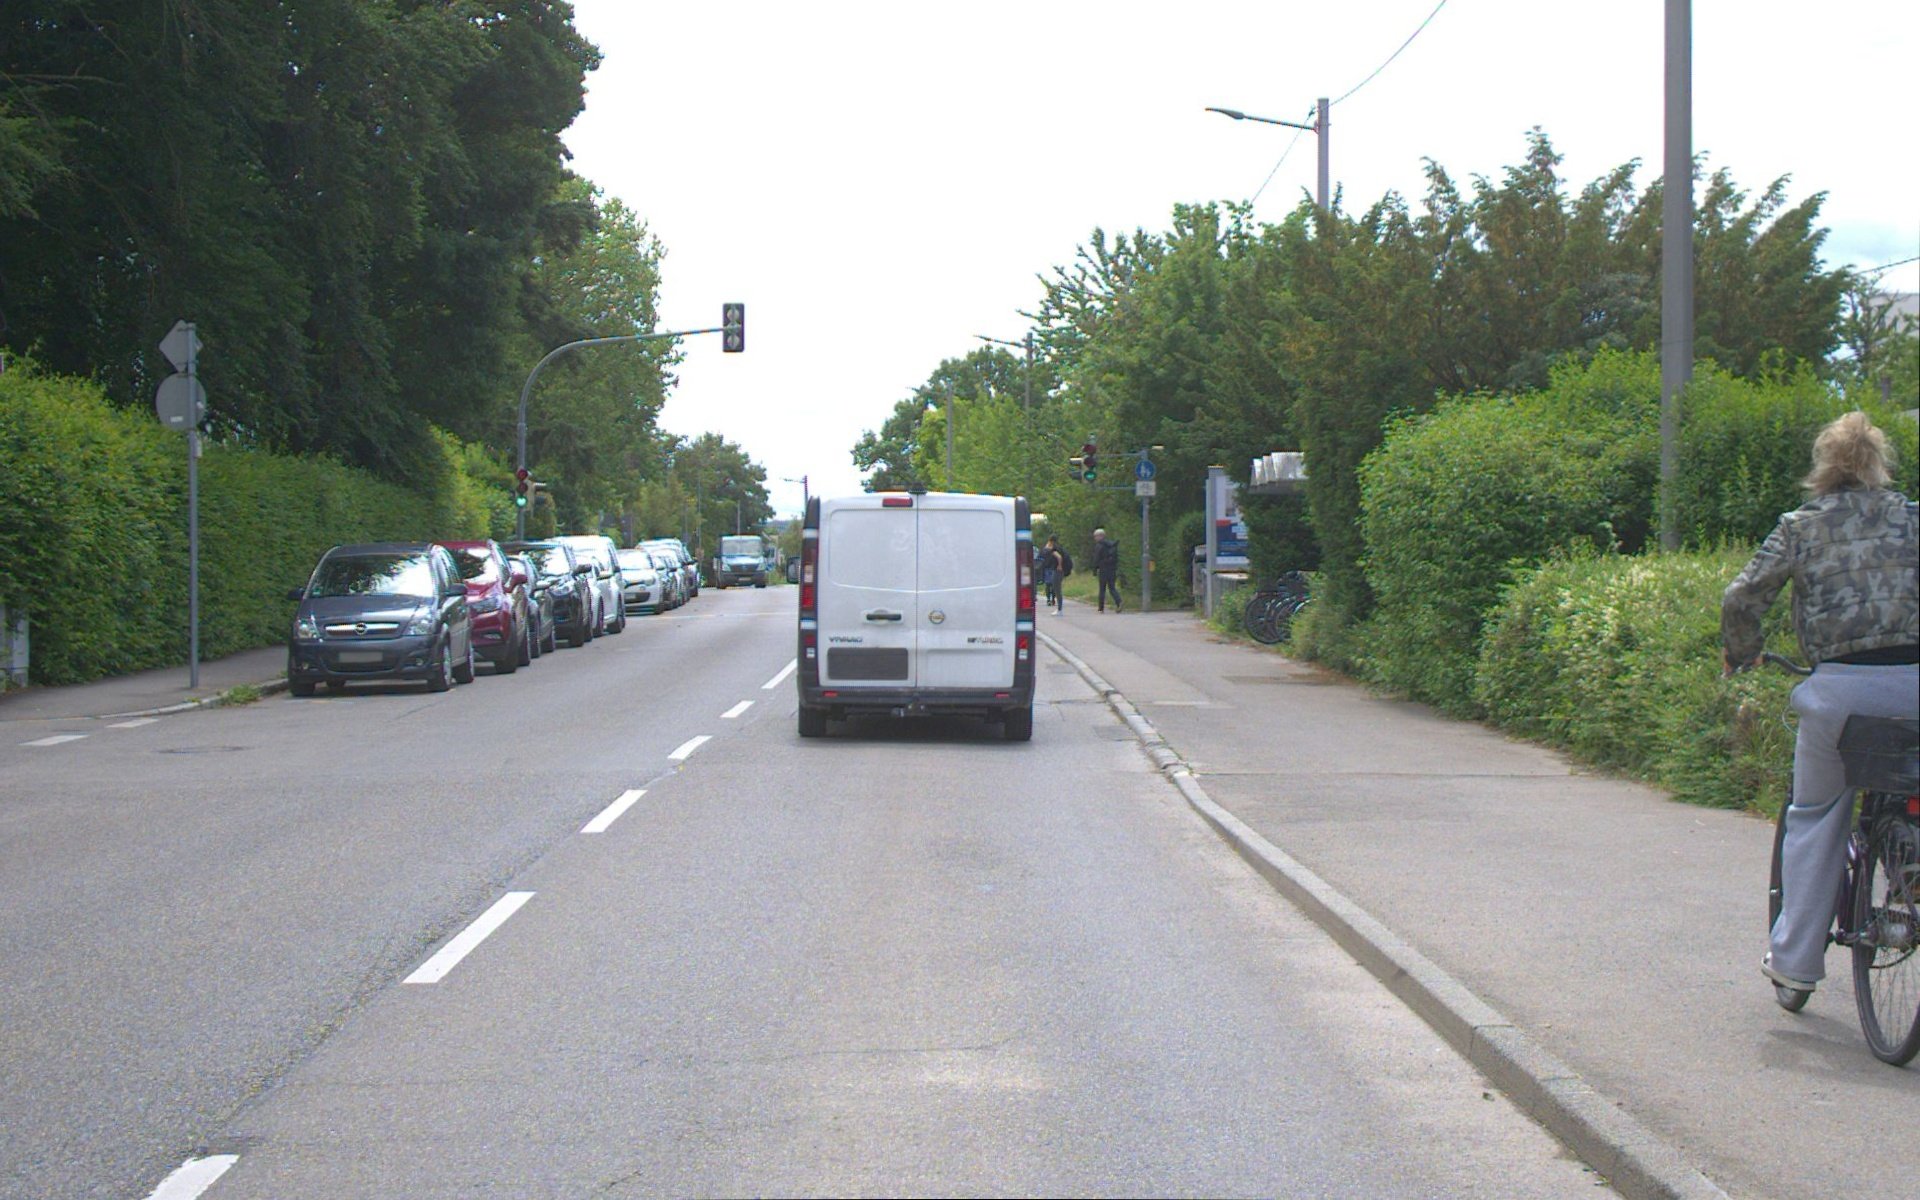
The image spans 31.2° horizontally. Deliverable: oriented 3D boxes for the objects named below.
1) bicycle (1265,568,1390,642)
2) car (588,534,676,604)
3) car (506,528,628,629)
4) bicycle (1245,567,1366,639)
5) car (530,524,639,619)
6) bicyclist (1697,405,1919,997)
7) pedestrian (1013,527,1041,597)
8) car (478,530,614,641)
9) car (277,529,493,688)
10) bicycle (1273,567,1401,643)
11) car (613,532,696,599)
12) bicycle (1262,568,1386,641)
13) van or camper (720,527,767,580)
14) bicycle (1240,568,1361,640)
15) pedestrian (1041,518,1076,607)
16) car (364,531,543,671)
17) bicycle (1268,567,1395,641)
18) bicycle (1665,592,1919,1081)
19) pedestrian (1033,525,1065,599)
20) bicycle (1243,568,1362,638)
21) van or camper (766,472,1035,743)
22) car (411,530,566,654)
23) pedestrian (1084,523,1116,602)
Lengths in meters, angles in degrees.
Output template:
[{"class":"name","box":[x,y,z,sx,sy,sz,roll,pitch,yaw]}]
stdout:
[{"class":"bicycle","box":[5.206,0.066,48.776,1.698,1.027,0.491,0,1,-1]},{"class":"car","box":[-7.606,-0.733,79.984,1.761,1.551,3.815,-1,1,-2]},{"class":"car","box":[-6.761,-0.396,59.453,1.761,1.651,3.815,-1,1,-2]},{"class":"bicycle","box":[5.064,0.045,50.439,1.698,1.027,0.491,0,1,-1]},{"class":"car","box":[-7.222,-0.577,66.417,1.761,1.750,3.815,-1,1,-2]},{"class":"bicyclist","box":[2.538,0.268,9.723,0.717,1.606,0.757,0,1,-1]},{"class":"pedestrian","box":[1.780,-1.002,91.146,0.702,1.844,0.666,0,1,0]},{"class":"car","box":[-6.494,-0.258,54.231,1.761,1.651,3.815,-1,1,-2]},{"class":"car","box":[-6.243,0.047,37.738,1.761,1.620,4.186,-1,1,-2]},{"class":"bicycle","box":[5.220,0.067,47.644,1.698,1.027,0.491,0,1,-1]},{"class":"car","box":[-7.885,-0.913,89.032,1.780,1.663,4.000,0,1,0]},{"class":"bicycle","box":[5.219,0.063,49.340,1.698,1.027,0.491,0,1,-1]},{"class":"van or camper","box":[-9.422,-2.041,149.970,2.004,2.254,4.613,-1,1,-3]},{"class":"bicycle","box":[4.939,0.052,49.909,1.698,1.027,0.491,0,1,-1]},{"class":"pedestrian","box":[2.040,-0.777,71.211,0.680,1.834,0.645,1,1,6]},{"class":"car","box":[-6.341,-0.029,43.398,1.761,1.651,4.061,-1,1,-2]},{"class":"bicycle","box":[5.203,0.053,48.200,1.698,1.027,0.491,0,1,-1]},{"class":"bicycle","box":[2.569,0.623,10.065,0.546,1.242,2.055,0,1,-1]},{"class":"pedestrian","box":[2.160,-0.935,83.795,0.649,1.800,0.566,0,1,-12]},{"class":"bicycle","box":[5.075,0.043,50.985,1.698,1.027,0.491,0,1,-1]},{"class":"van or camper","box":[-0.463,0.034,28.289,1.993,2.007,4.446,1,0,0]},{"class":"car","box":[-6.643,-0.149,48.739,1.761,1.651,3.815,-1,1,-2]},{"class":"pedestrian","box":[3.024,-0.820,74.260,0.674,1.690,0.522,0,1,4]}]
